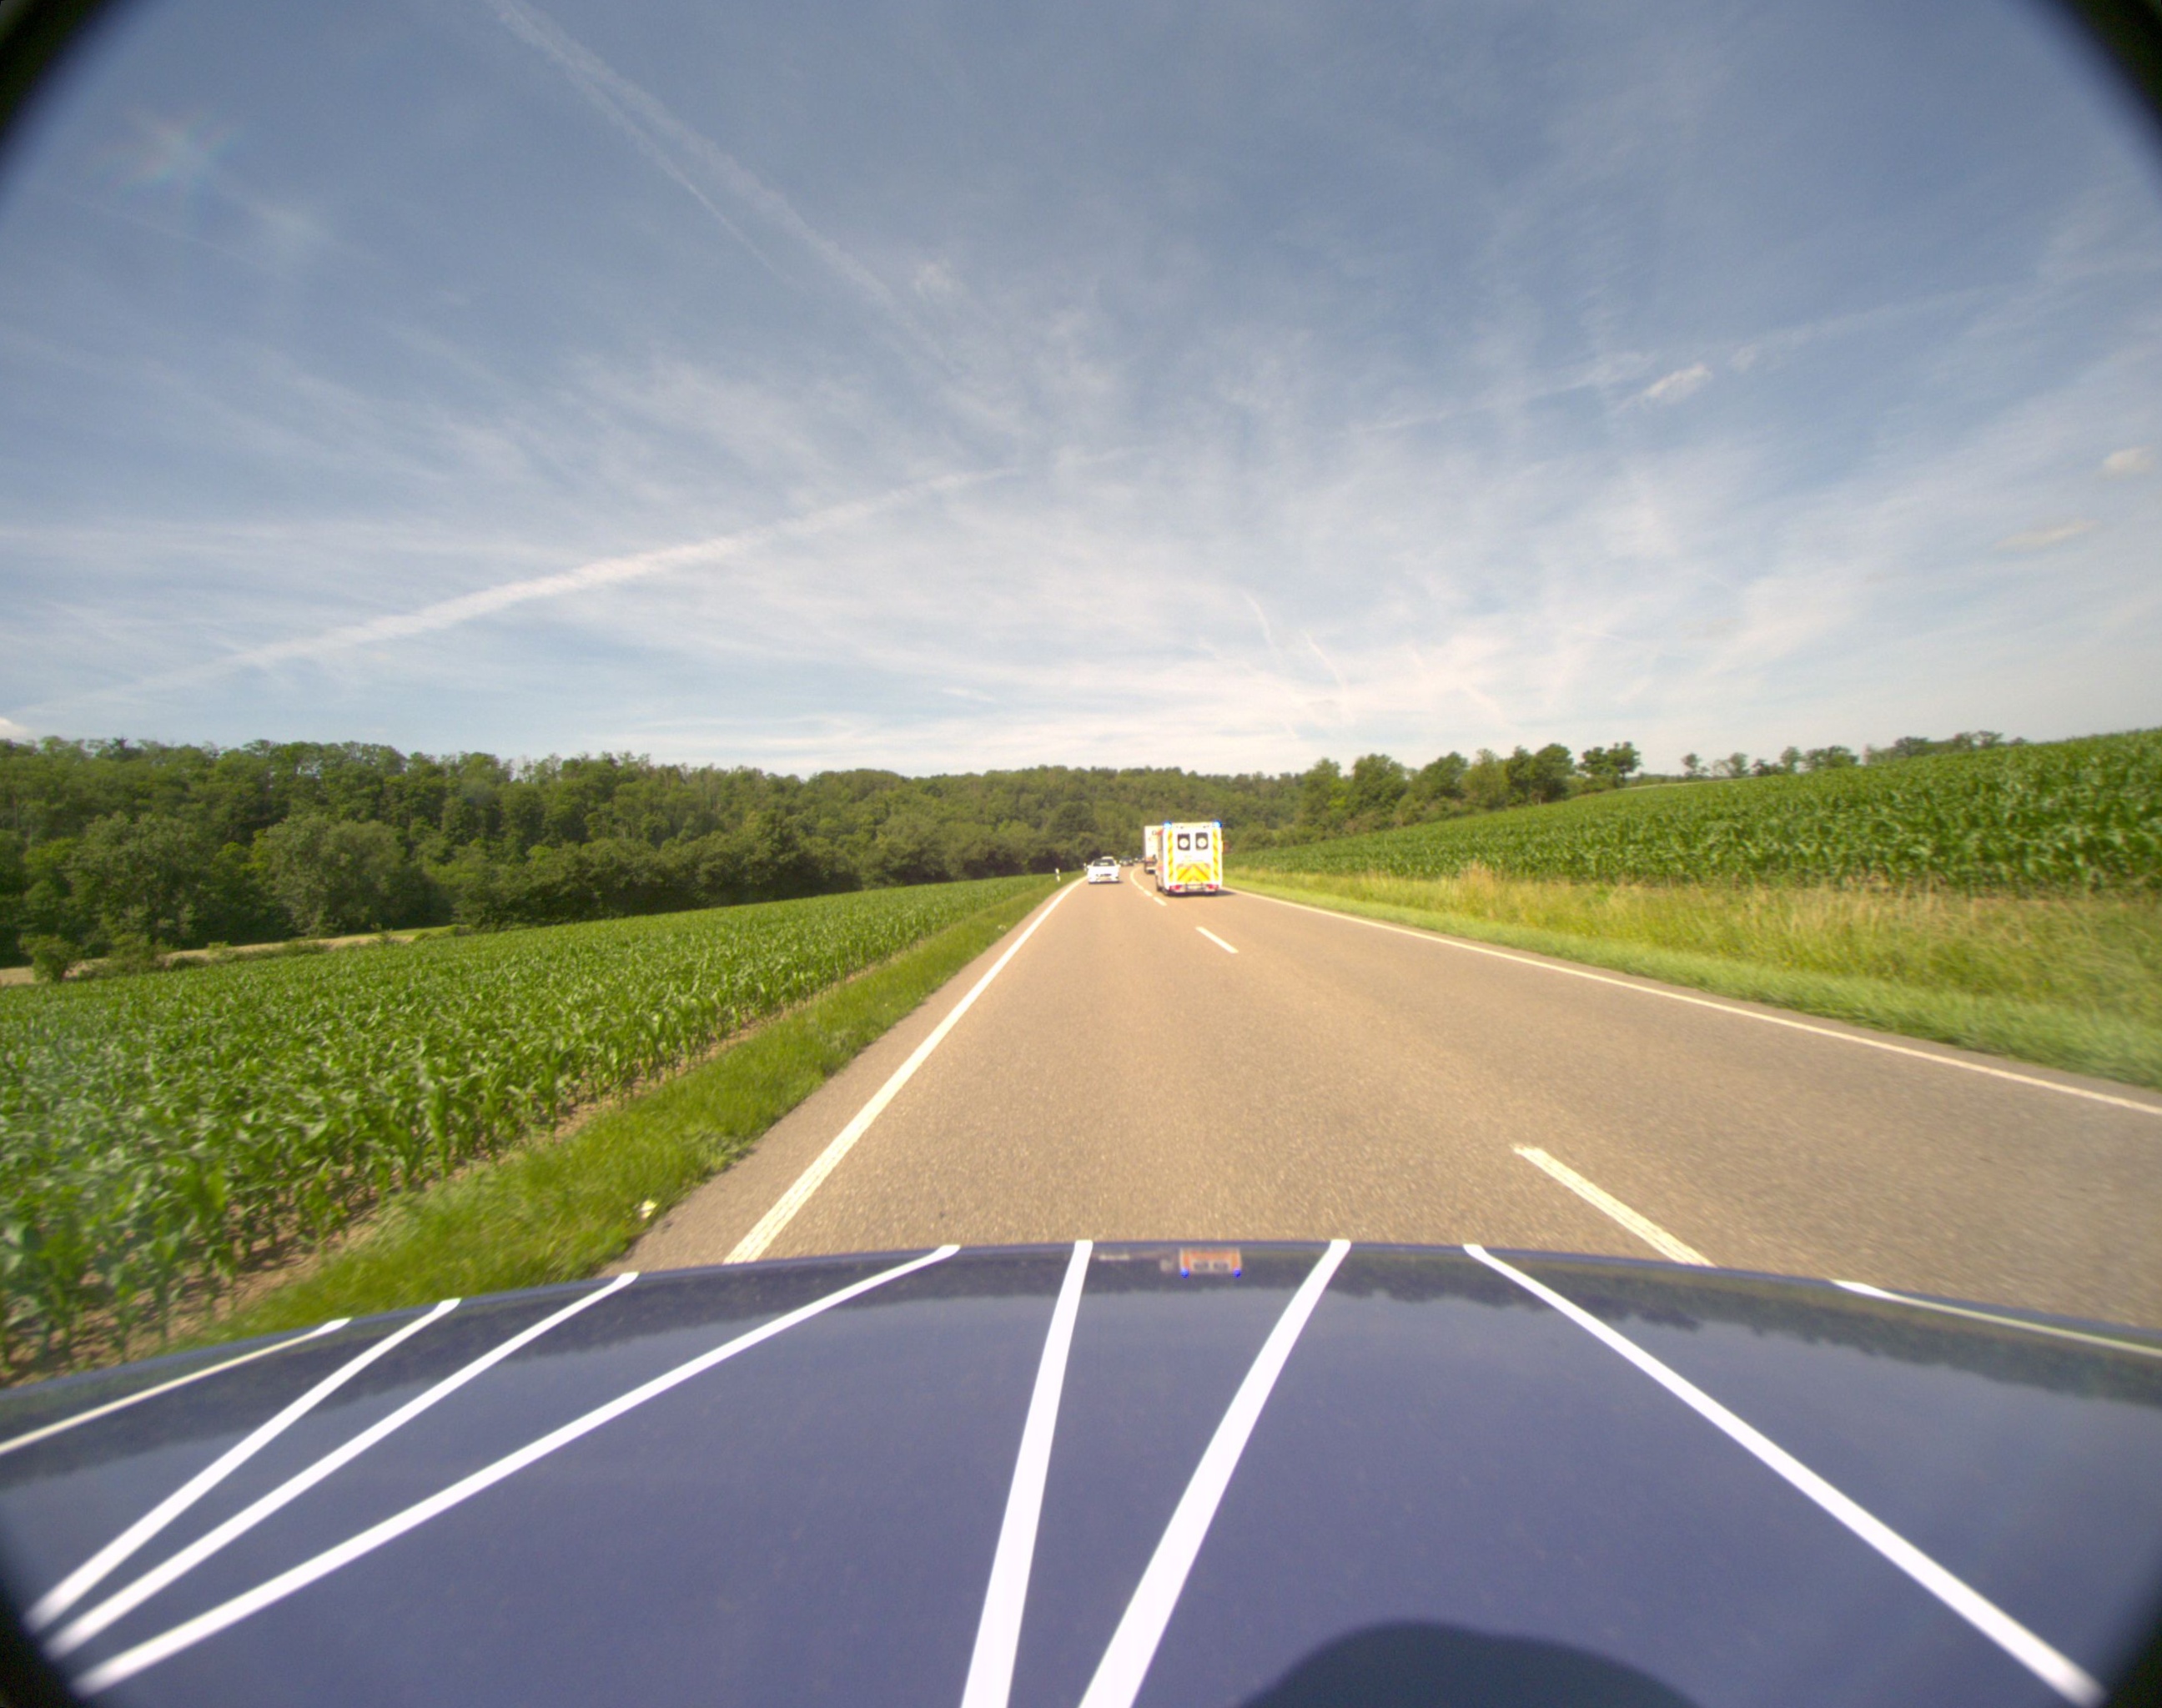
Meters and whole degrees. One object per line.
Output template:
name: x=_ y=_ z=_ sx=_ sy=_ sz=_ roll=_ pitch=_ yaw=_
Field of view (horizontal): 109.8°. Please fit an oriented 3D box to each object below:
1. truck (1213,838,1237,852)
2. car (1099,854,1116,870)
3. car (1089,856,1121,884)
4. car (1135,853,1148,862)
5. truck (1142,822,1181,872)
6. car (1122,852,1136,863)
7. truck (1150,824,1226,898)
truck: x=42.887 y=-2.727 z=225.733 sx=2.773 sy=3.975 sz=17.053 roll=-2 pitch=0 yaw=24
car: x=2.855 y=0.832 z=80.465 sx=1.717 sy=1.523 sz=4.000 roll=-3 pitch=1 yaw=3
car: x=1.420 y=0.931 z=45.537 sx=1.743 sy=1.445 sz=4.035 roll=-2 pitch=1 yaw=1
car: x=10.473 y=0.595 z=132.196 sx=1.741 sy=1.445 sz=4.038 roll=-2 pitch=1 yaw=11
truck: x=7.151 y=-0.581 z=69.556 sx=2.833 sy=3.969 sz=16.536 roll=-1 pitch=0 yaw=4
car: x=6.942 y=0.485 z=109.913 sx=1.742 sy=1.445 sz=4.037 roll=-2 pitch=1 yaw=8
truck: x=4.180 y=0.223 z=30.753 sx=2.213 sy=2.656 sz=6.416 roll=-1 pitch=1 yaw=1
